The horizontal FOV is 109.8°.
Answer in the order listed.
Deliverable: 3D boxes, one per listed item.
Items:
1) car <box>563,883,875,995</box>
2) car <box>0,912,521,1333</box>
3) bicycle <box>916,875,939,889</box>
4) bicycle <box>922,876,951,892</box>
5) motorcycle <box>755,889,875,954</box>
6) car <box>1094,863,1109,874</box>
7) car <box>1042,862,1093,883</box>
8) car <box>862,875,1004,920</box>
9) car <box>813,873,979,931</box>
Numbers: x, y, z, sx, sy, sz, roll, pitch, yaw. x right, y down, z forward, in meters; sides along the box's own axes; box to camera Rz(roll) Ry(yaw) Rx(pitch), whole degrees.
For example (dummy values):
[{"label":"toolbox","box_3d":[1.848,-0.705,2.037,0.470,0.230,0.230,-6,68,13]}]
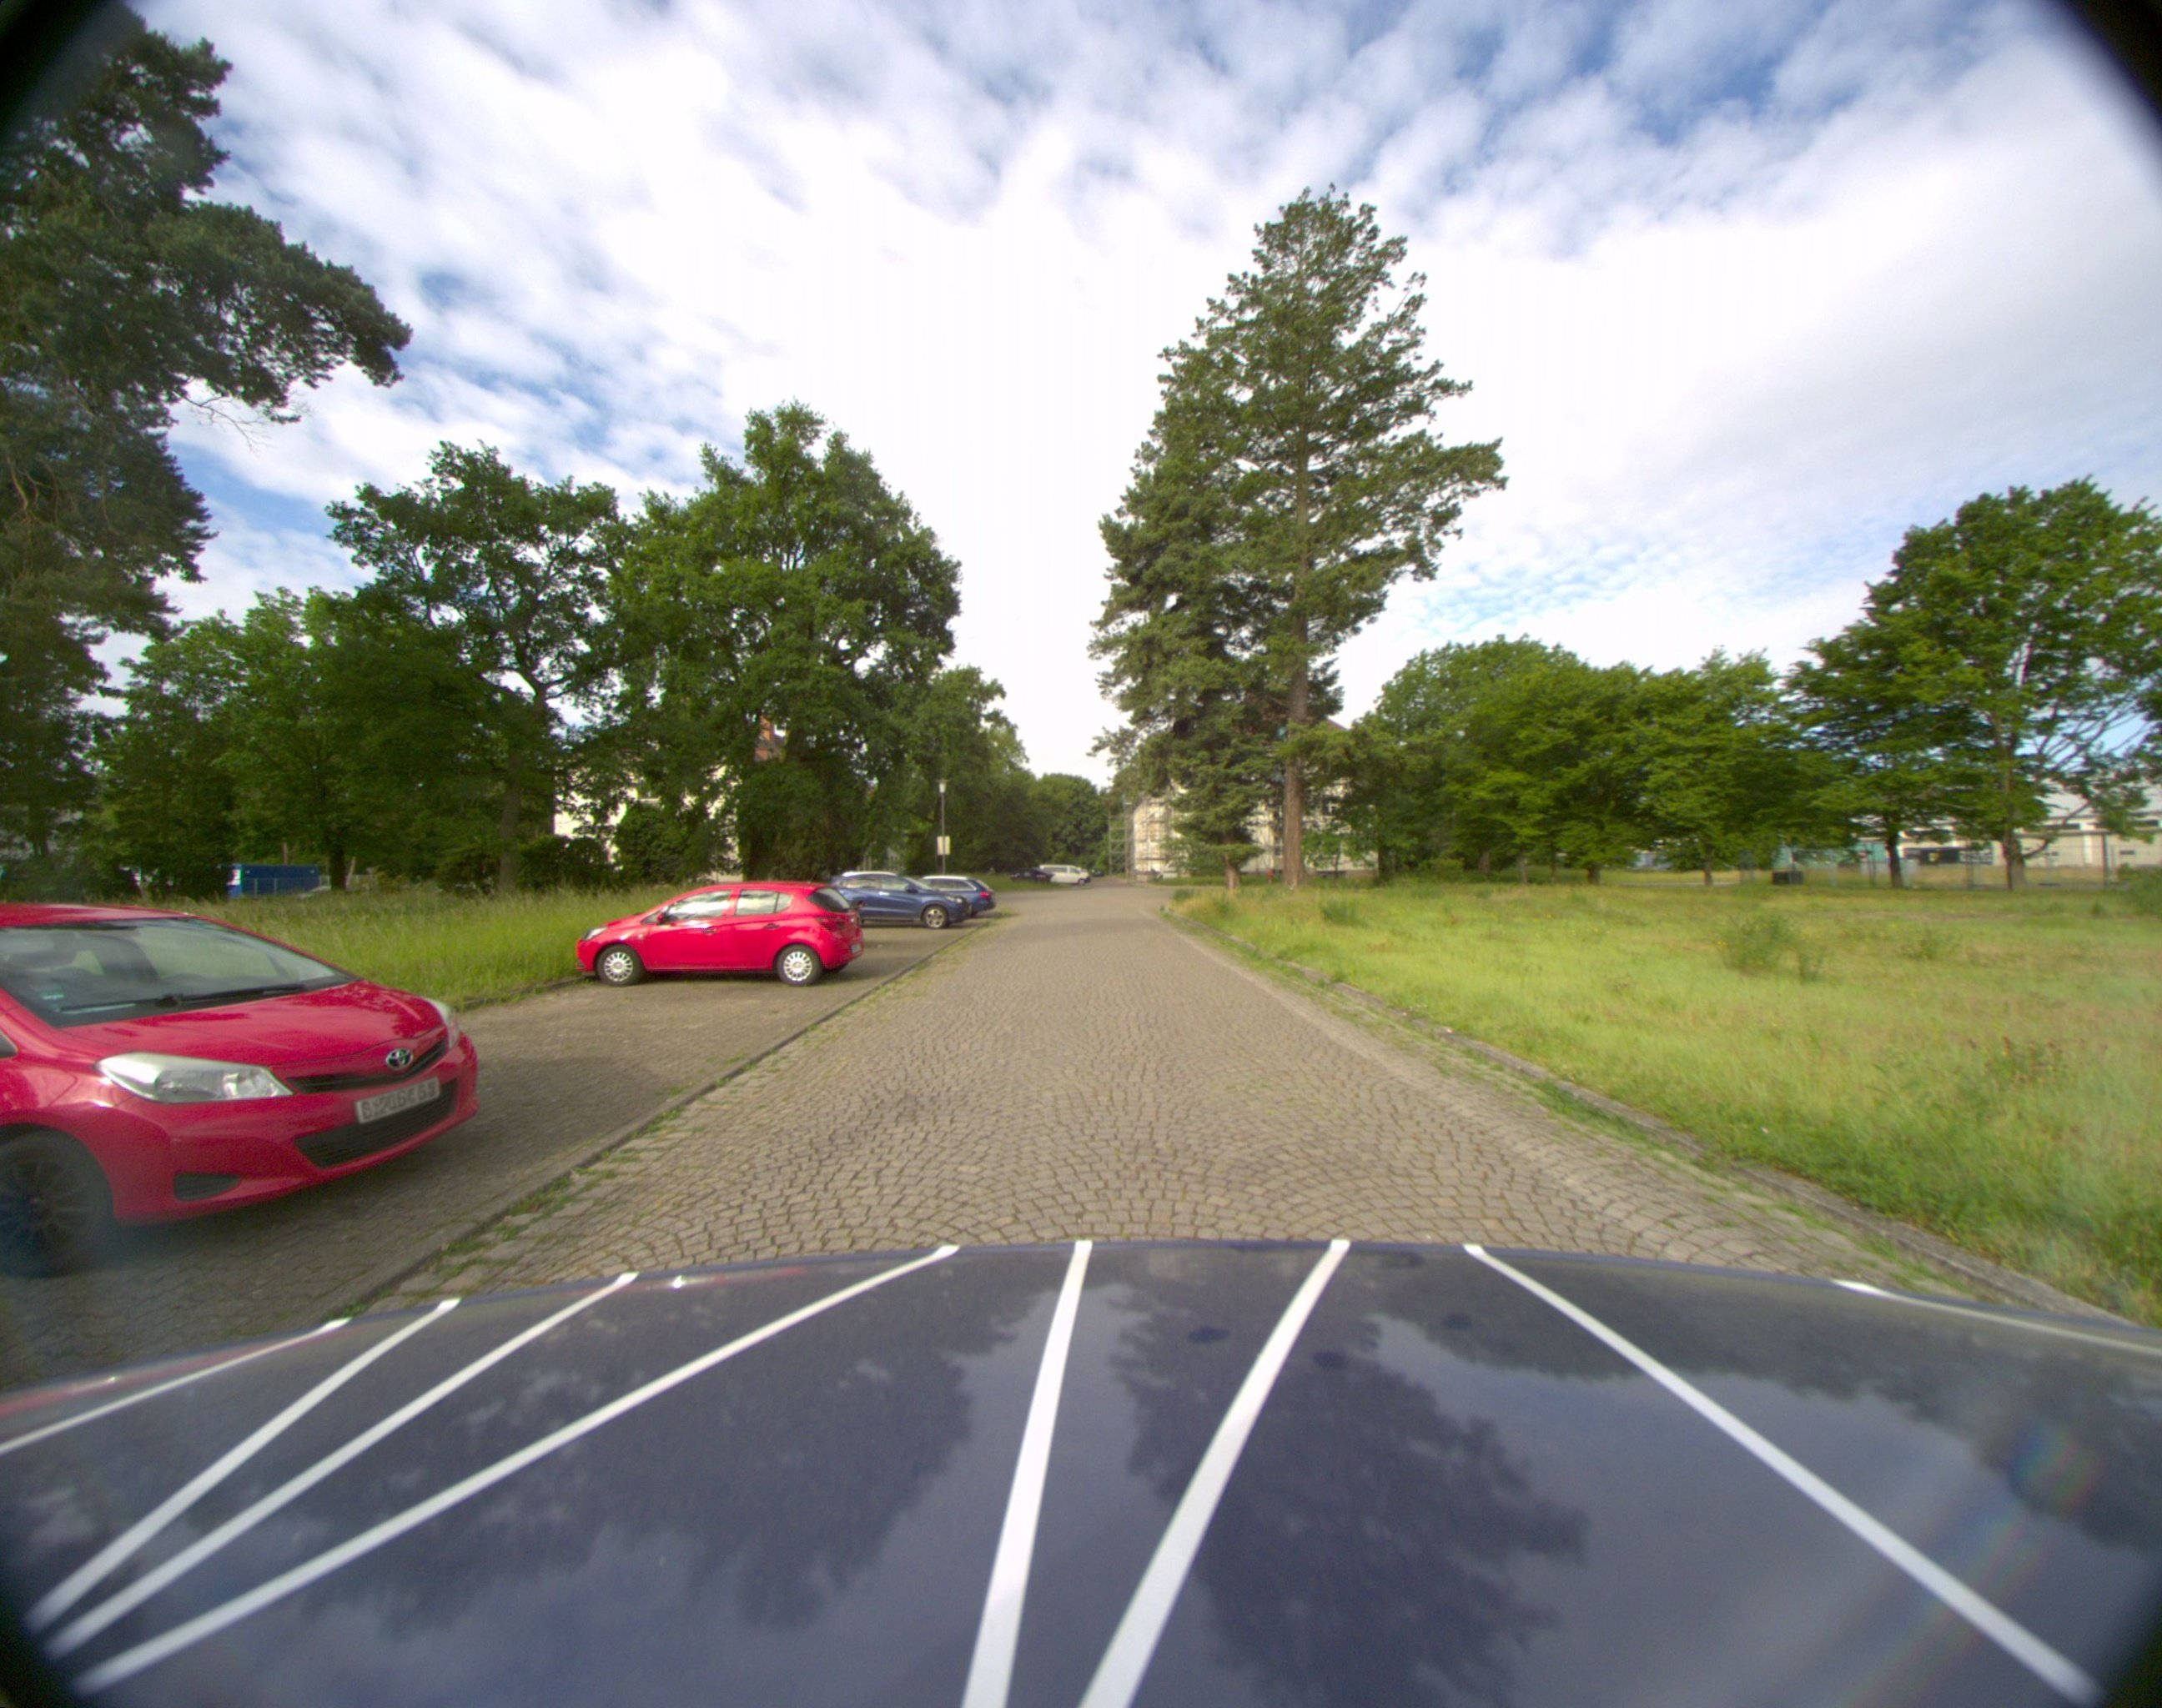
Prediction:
[{"label":"car","box_3d":[-5.244,1.212,11.417,3.849,1.496,1.738,0,-1,-1]},{"label":"car","box_3d":[-5.461,1.131,3.799,3.997,1.509,1.738,-1,-1,0]},{"label":"bicycle","box_3d":[-12.365,2.241,61.131,1.753,1.082,0.552,0,2,-22]},{"label":"bicycle","box_3d":[-10.446,2.156,54.880,2.020,1.082,0.478,0,2,-22]},{"label":"motorcycle","box_3d":[-5.522,1.393,15.853,2.271,1.267,0.605,0,0,-5]},{"label":"car","box_3d":[3.845,2.727,141.651,2.029,1.915,3.997,-1,-1,-11]},{"label":"car","box_3d":[-1.363,1.801,75.236,4.916,1.982,2.000,-1,-1,-3]},{"label":"car","box_3d":[-5.097,1.473,26.504,4.515,1.456,1.896,0,-1,3]},{"label":"car","box_3d":[-5.173,1.346,21.723,4.274,1.564,1.895,0,-1,-1]}]
